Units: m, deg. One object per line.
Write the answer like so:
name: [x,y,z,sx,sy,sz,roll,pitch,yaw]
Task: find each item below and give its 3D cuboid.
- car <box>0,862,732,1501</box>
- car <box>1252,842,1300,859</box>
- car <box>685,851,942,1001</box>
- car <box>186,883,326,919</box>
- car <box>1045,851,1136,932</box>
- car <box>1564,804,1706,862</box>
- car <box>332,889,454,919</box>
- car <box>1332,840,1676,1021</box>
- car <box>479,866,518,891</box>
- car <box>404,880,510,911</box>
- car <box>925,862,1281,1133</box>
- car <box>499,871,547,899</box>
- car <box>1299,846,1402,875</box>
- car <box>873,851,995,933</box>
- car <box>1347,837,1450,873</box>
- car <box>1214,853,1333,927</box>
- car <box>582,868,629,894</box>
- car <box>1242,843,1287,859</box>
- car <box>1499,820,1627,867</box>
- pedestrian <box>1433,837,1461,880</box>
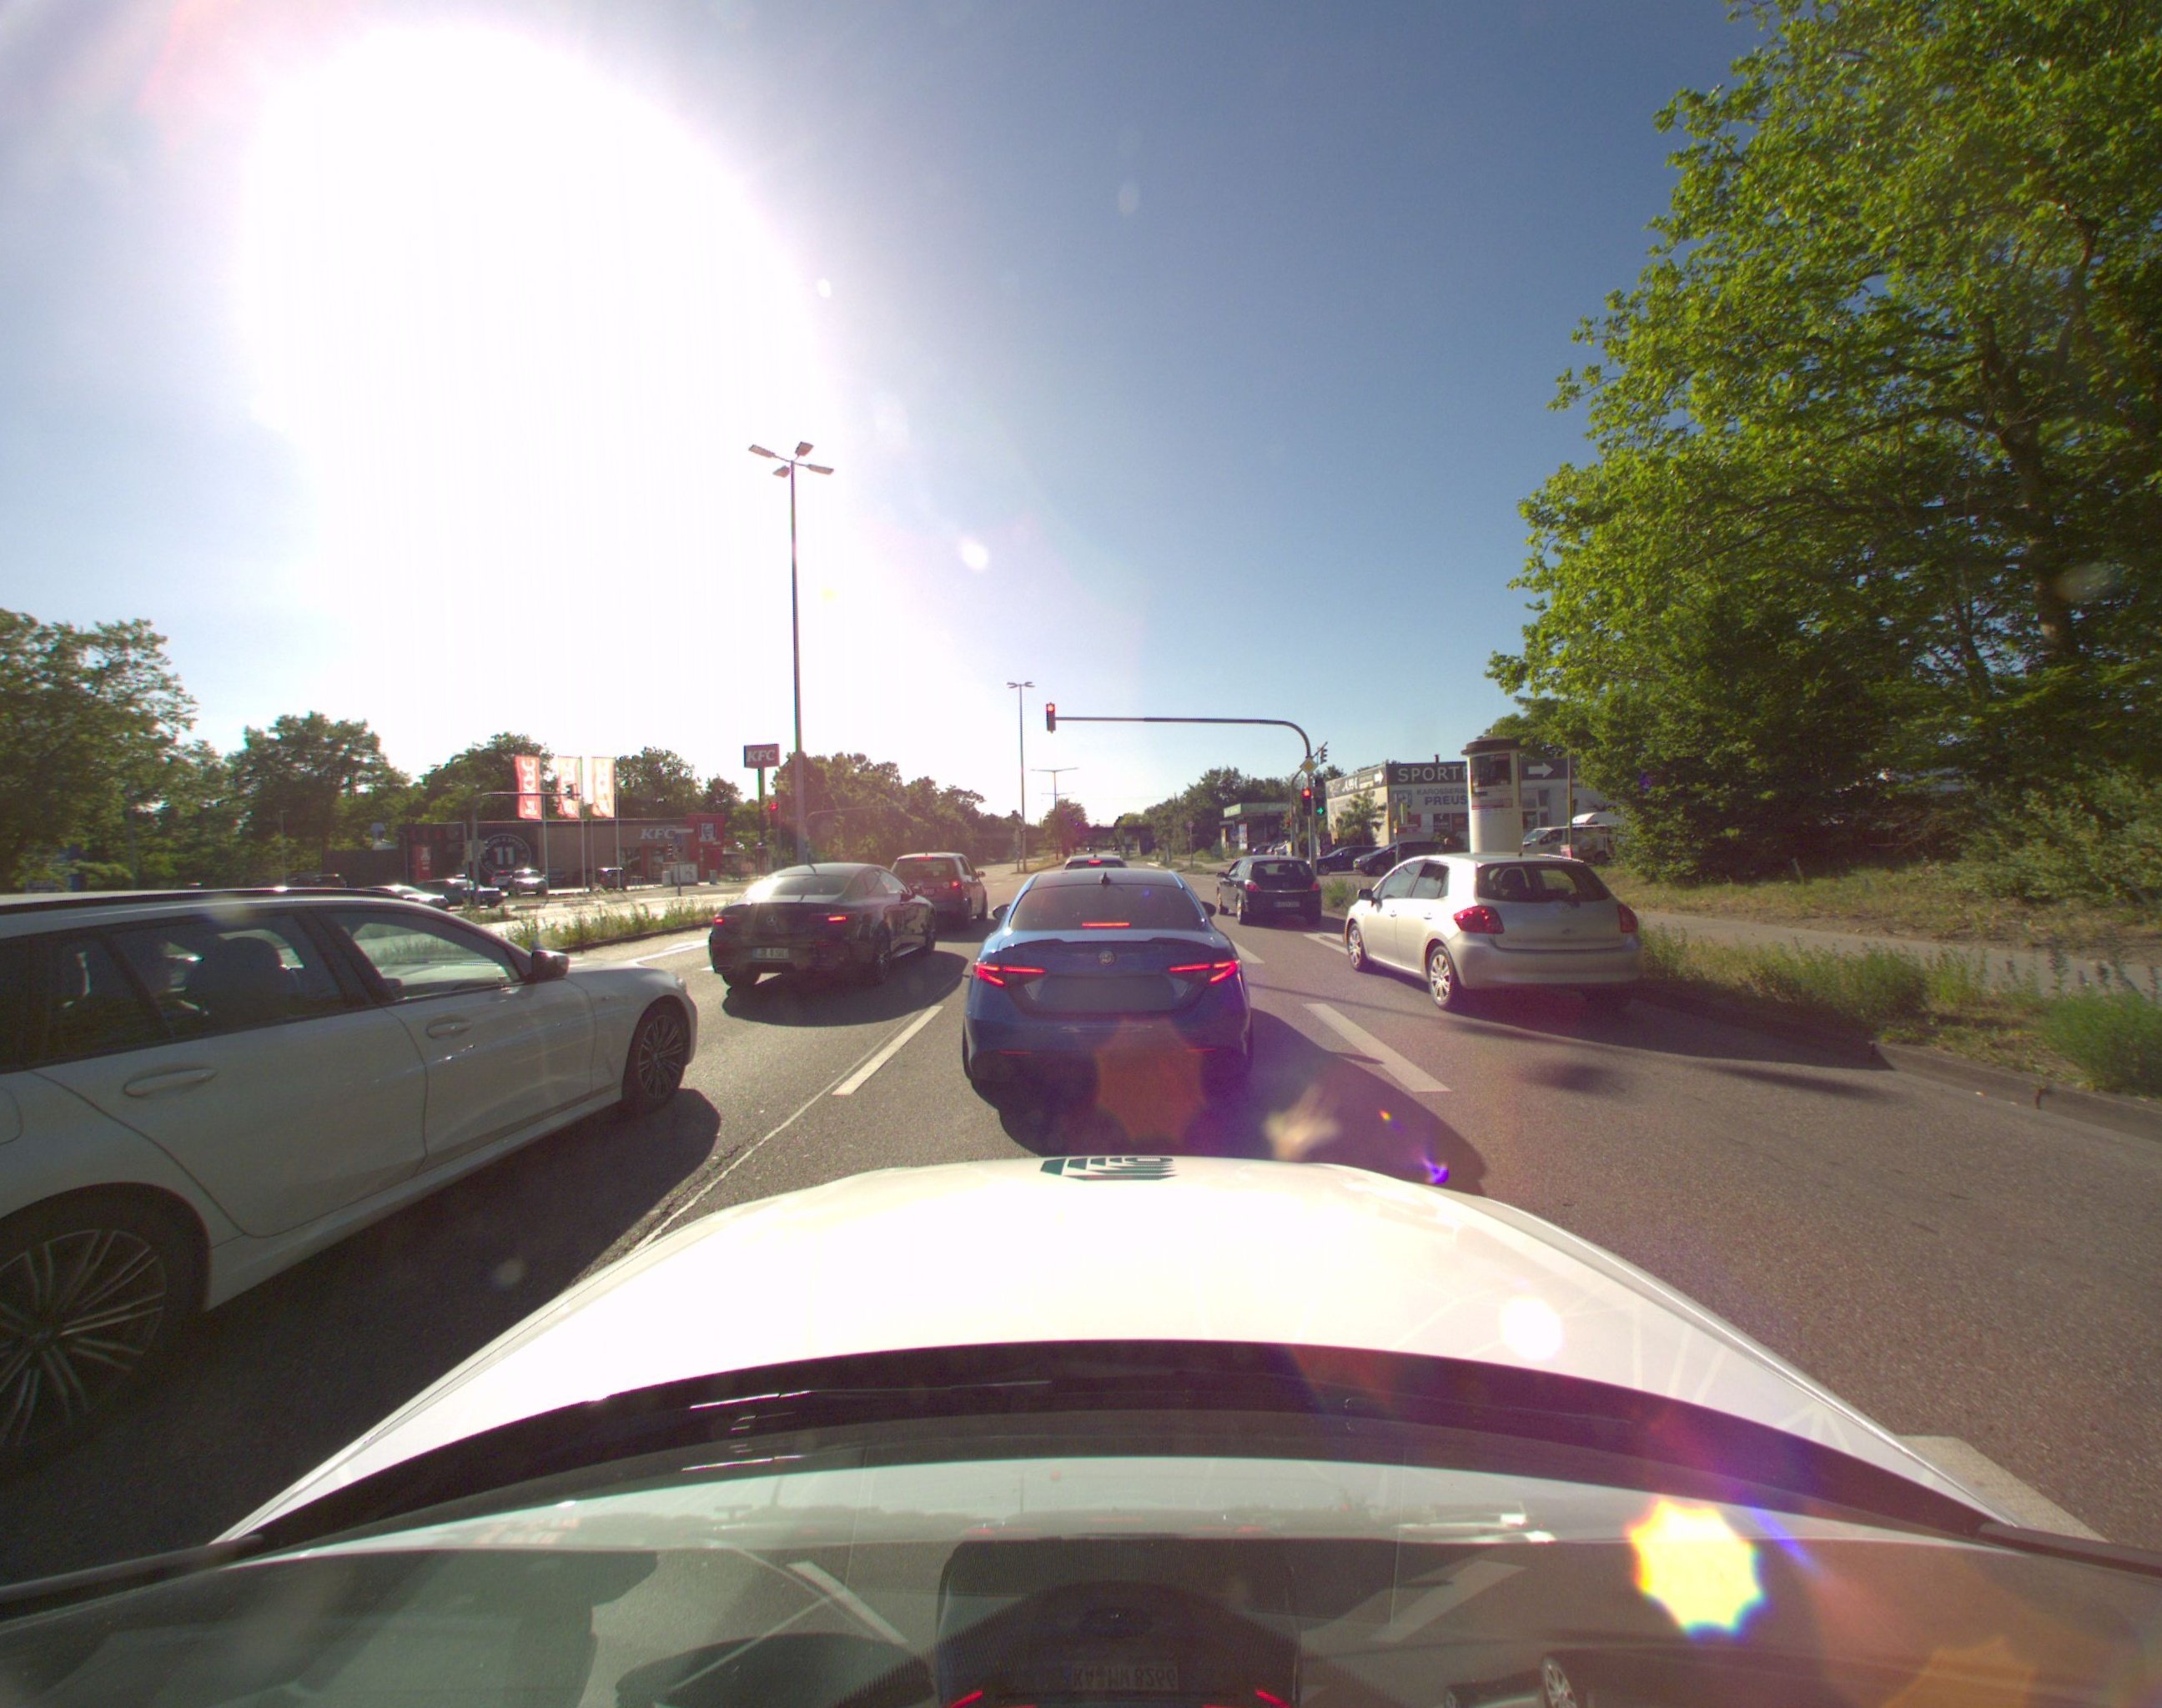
car: [-3.452,0.826,3.408,1.805,1.486,4.599,-1,0,2]
car: [17.814,-0.317,74.443,3.971,1.552,2.001,0,-1,2]
car: [-3.193,0.753,10.818,1.806,1.551,4.544,-1,0,1]
car: [-39.098,2.197,38.678,4.608,1.579,1.936,0,-1,0]
car: [0.294,0.721,17.062,1.696,1.497,3.722,0,-1,3]
car: [28.565,-1.035,42.140,5.812,2.672,2.001,-3,-1,2]
car: [-32.185,2.321,38.195,4.070,1.252,1.871,0,-1,0]
car: [4.248,0.646,9.019,1.777,1.537,4.109,0,0,2]
car: [-45.468,1.888,63.558,2.011,1.813,3.727,0,-1,-43]
car: [-31.922,2.100,41.738,3.940,1.453,1.936,0,-1,1]
car: [0.223,0.786,6.221,1.901,1.423,3.722,0,-1,3]
car: [-37.383,2.028,54.542,1.946,1.740,4.046,0,-1,-45]
car: [13.939,0.336,42.280,4.803,1.468,1.758,0,-1,0]
car: [-3.010,0.739,17.609,1.806,1.551,4.353,0,-1,0]
car: [15.170,0.063,39.002,4.291,1.650,1.638,0,-1,1]
car: [4.146,0.714,18.206,1.727,1.442,4.373,0,0,2]
car: [-33.916,1.872,58.013,1.946,1.740,4.046,0,-1,-45]
car: [18.573,-0.265,82.530,3.995,1.552,1.989,0,-1,-16]
car: [22.940,-0.485,38.900,4.937,2.035,1.881,-2,-1,0]
pedestrian: [14.187,0.182,31.569,0.814,1.669,0.514,0,-1,1]
